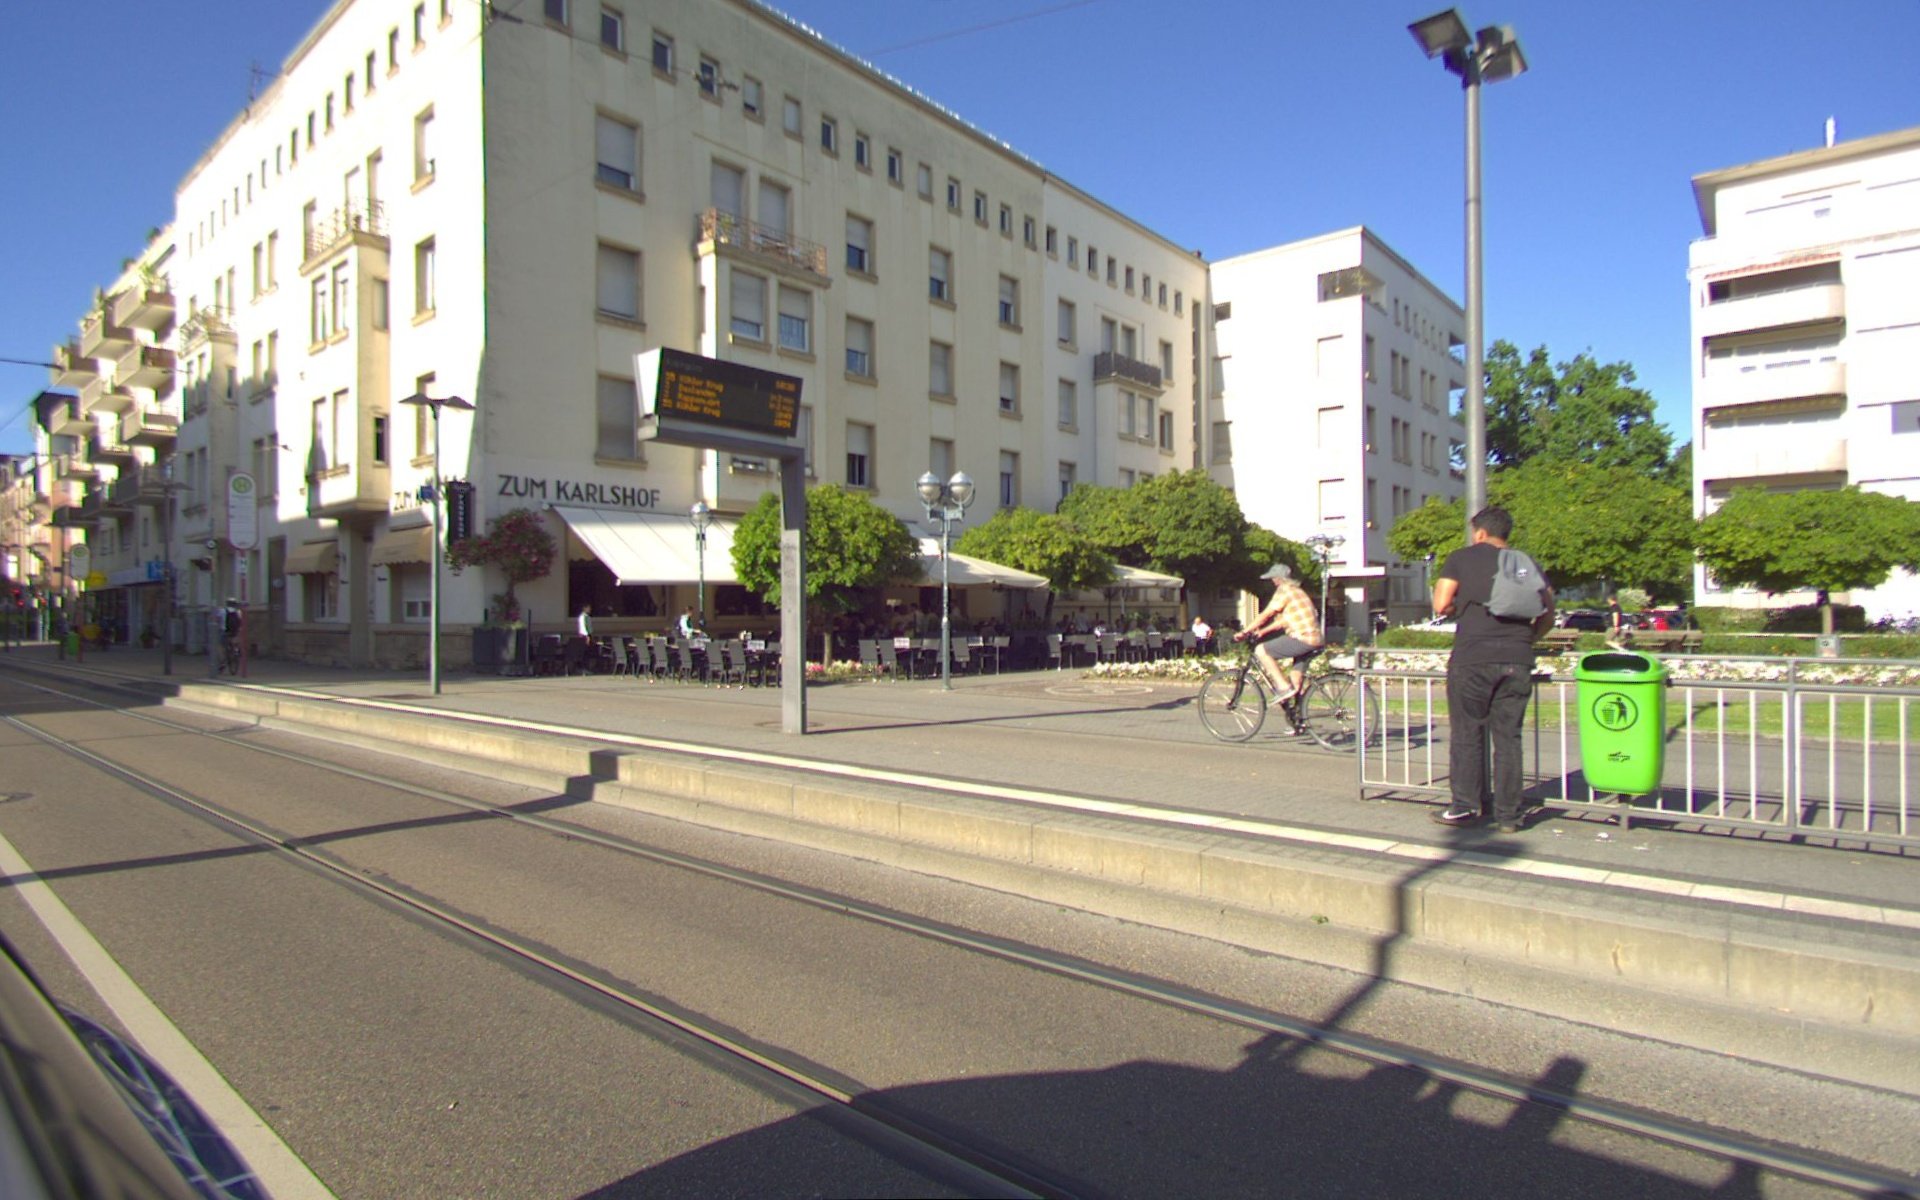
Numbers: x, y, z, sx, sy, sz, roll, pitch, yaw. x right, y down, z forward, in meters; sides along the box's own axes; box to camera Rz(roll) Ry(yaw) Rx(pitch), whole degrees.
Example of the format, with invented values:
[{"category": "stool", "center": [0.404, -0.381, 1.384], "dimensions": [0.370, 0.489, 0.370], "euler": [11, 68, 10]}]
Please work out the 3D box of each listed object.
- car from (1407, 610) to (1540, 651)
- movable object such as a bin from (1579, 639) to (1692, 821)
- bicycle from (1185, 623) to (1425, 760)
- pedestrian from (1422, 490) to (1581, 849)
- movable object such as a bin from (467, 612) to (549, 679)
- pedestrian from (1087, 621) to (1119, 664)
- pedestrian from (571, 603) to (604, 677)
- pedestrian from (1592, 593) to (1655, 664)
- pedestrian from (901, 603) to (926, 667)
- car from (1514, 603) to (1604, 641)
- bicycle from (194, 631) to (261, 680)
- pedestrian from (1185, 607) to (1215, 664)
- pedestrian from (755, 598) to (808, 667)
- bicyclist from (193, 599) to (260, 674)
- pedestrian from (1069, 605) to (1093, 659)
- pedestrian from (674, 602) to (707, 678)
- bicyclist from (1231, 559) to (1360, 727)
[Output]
[{"category": "car", "center": [17.614, 1.028, 34.793], "dimensions": [3.713, 1.310, 1.973], "euler": [-1, -1, 41]}, {"category": "movable object such as a bin", "center": [3.440, 0.638, 5.156], "dimensions": [0.416, 0.866, 0.332], "euler": [-2, -1, 44]}, {"category": "bicycle", "center": [3.150, 0.784, 9.372], "dimensions": [1.976, 1.121, 0.720], "euler": [-1, -1, 41]}, {"category": "pedestrian", "center": [2.832, 0.343, 5.297], "dimensions": [0.607, 1.731, 0.542], "euler": [-1, -3, 43]}, {"category": "movable object such as a bin", "center": [-9.994, 0.984, 22.372], "dimensions": [1.127, 1.410, 1.302], "euler": [-1, -1, 40]}, {"category": "pedestrian", "center": [4.335, 1.284, 30.656], "dimensions": [0.672, 1.280, 0.636], "euler": [-5, -5, 36]}, {"category": "pedestrian", "center": [-8.462, 0.913, 22.966], "dimensions": [0.662, 1.657, 0.753], "euler": [0, -4, -22]}, {"category": "pedestrian", "center": [17.356, 0.744, 26.483], "dimensions": [1.177, 1.801, 1.066], "euler": [-2, -1, 44]}, {"category": "pedestrian", "center": [-1.350, 1.004, 29.339], "dimensions": [0.641, 1.837, 0.576], "euler": [-1, -1, 5]}, {"category": "car", "center": [24.046, 0.876, 40.661], "dimensions": [2.932, 1.497, 1.399], "euler": [-1, -1, 41]}, {"category": "bicycle", "center": [-18.008, 1.338, 24.863], "dimensions": [2.031, 1.134, 0.705], "euler": [-1, -1, 35]}, {"category": "pedestrian", "center": [7.594, 1.123, 32.059], "dimensions": [0.710, 1.750, 0.673], "euler": [-2, -4, 1]}, {"category": "pedestrian", "center": [-4.439, 0.810, 25.187], "dimensions": [0.755, 1.657, 1.054], "euler": [-5, -5, 36]}, {"category": "bicyclist", "center": [-18.034, 0.882, 24.884], "dimensions": [1.092, 1.807, 0.996], "euler": [-1, -1, 33]}, {"category": "pedestrian", "center": [4.014, 1.057, 33.535], "dimensions": [0.677, 1.750, 0.671], "euler": [-3, -4, 14]}, {"category": "pedestrian", "center": [-6.034, 0.900, 22.671], "dimensions": [0.663, 1.657, 0.678], "euler": [-1, -4, -11]}, {"category": "bicyclist", "center": [3.115, 0.372, 9.401], "dimensions": [0.877, 1.466, 0.819], "euler": [-1, 0, 42]}]
